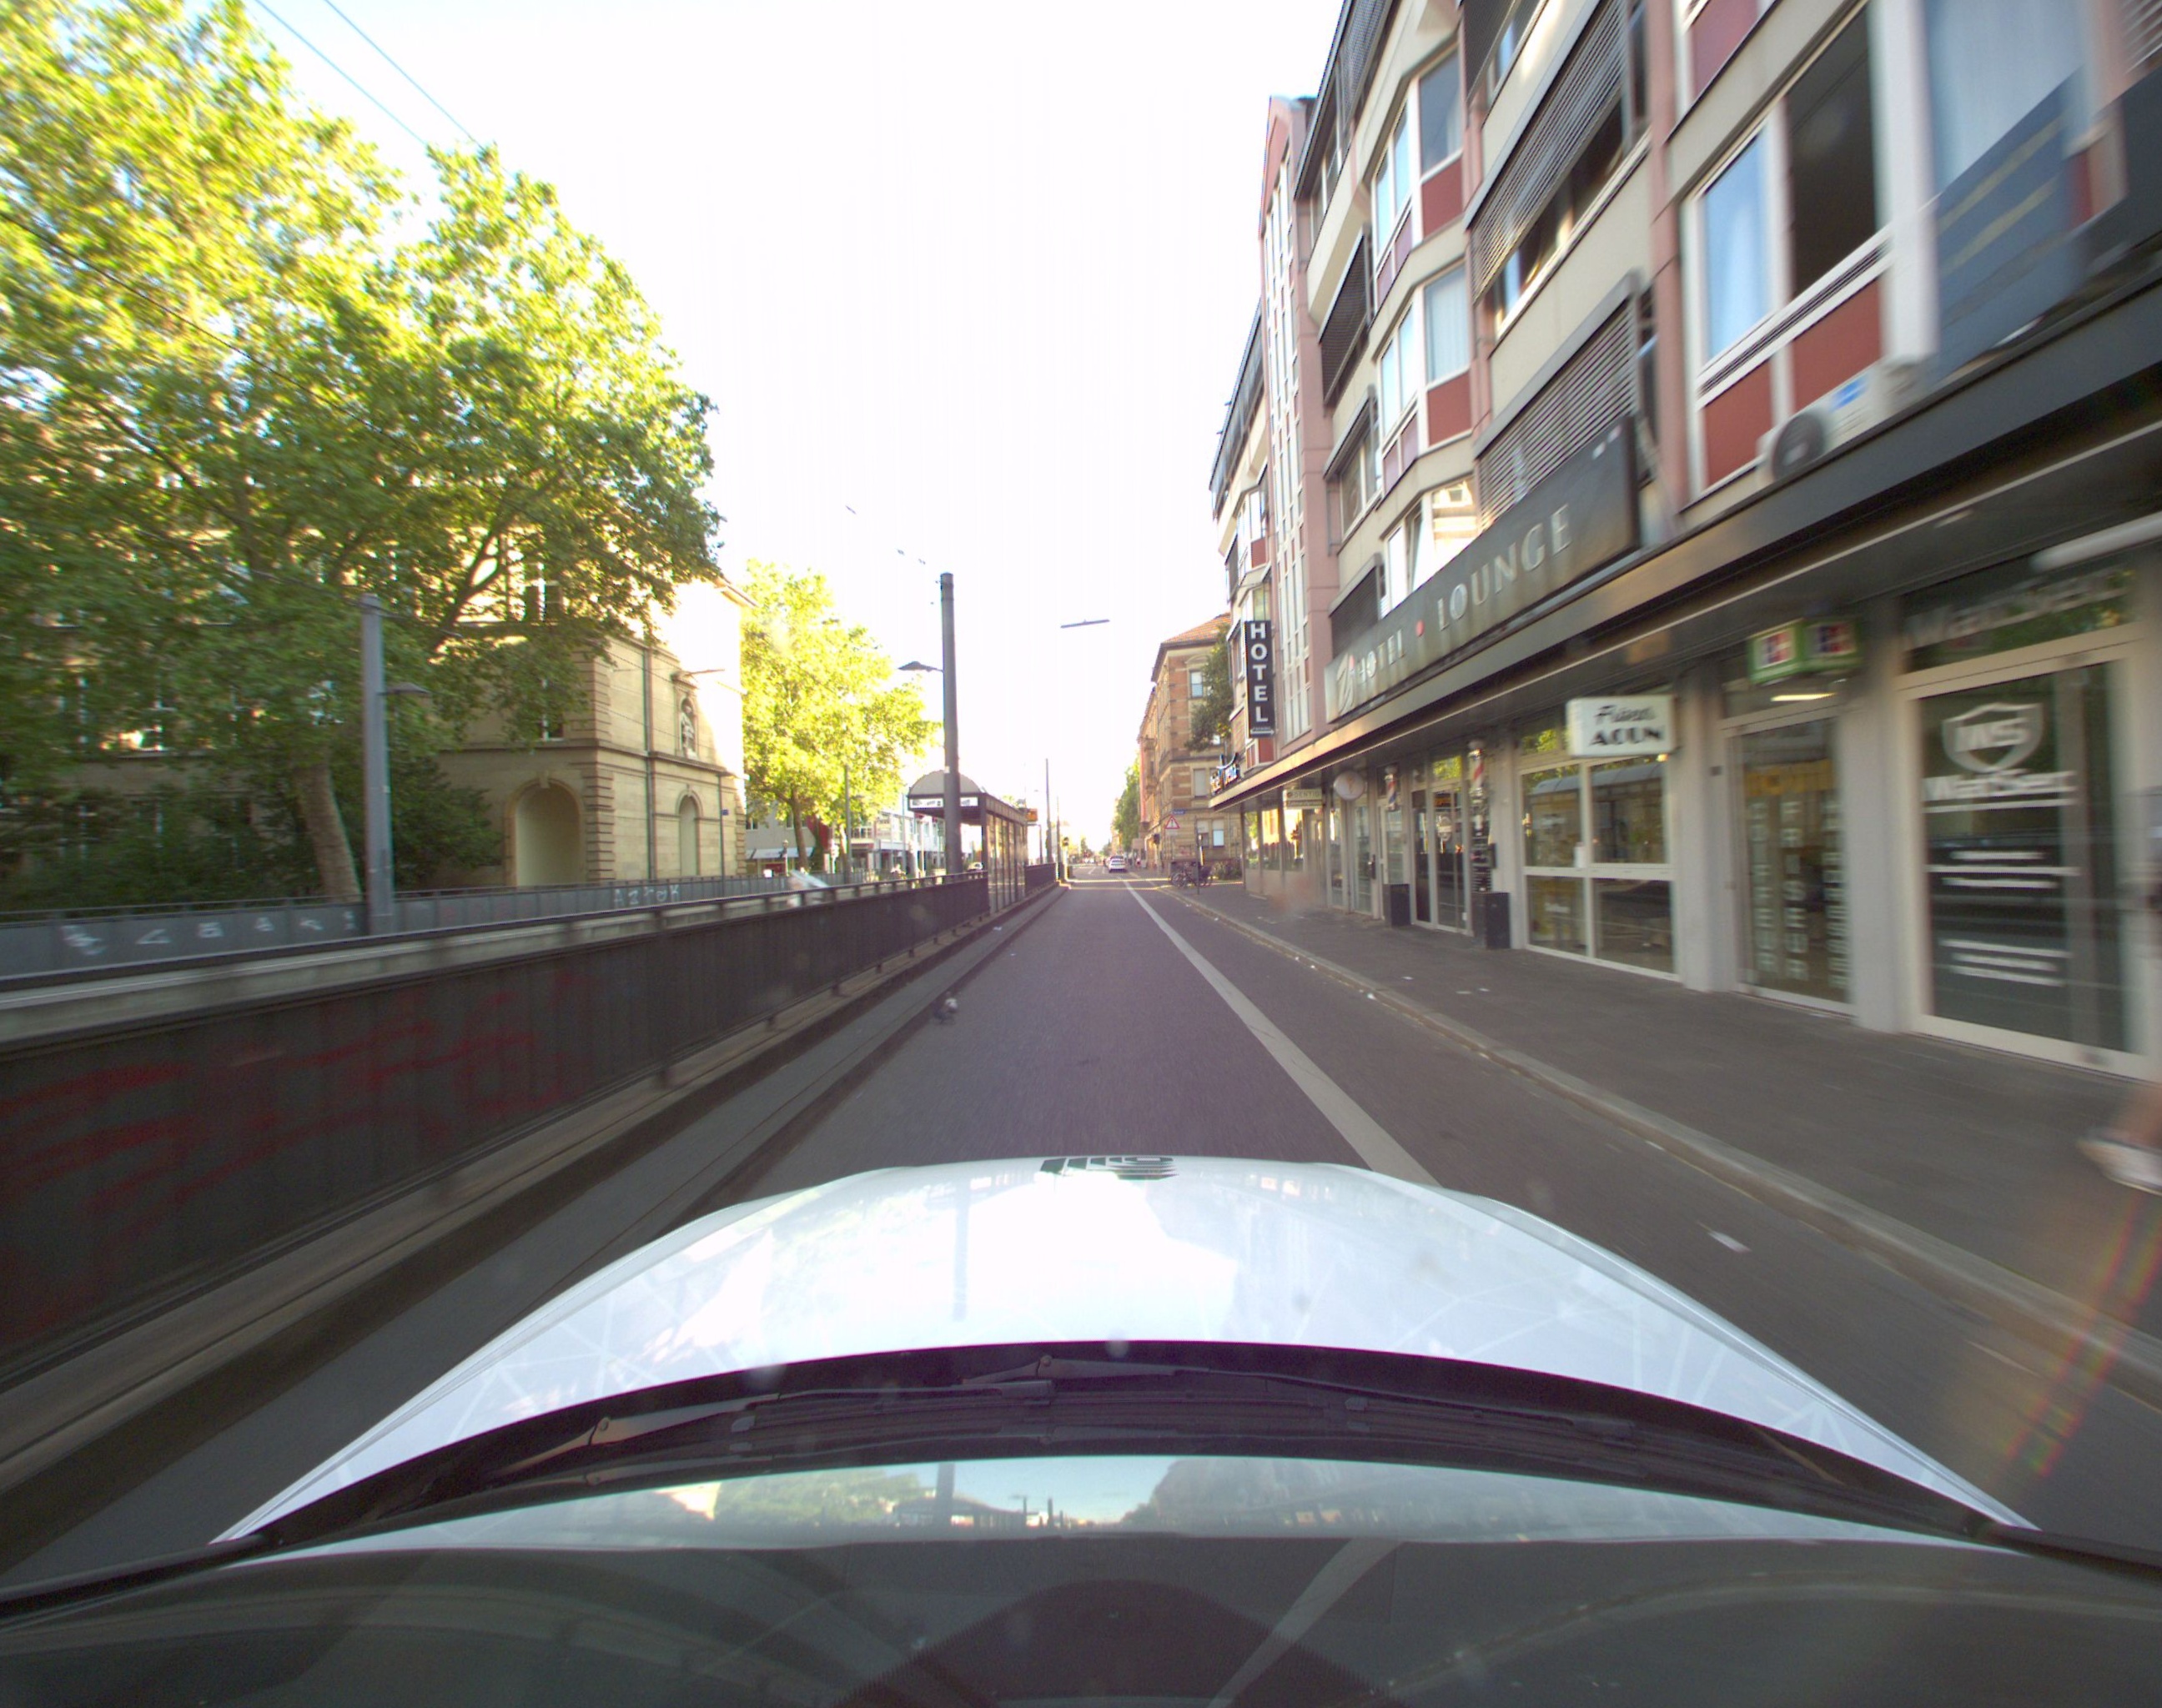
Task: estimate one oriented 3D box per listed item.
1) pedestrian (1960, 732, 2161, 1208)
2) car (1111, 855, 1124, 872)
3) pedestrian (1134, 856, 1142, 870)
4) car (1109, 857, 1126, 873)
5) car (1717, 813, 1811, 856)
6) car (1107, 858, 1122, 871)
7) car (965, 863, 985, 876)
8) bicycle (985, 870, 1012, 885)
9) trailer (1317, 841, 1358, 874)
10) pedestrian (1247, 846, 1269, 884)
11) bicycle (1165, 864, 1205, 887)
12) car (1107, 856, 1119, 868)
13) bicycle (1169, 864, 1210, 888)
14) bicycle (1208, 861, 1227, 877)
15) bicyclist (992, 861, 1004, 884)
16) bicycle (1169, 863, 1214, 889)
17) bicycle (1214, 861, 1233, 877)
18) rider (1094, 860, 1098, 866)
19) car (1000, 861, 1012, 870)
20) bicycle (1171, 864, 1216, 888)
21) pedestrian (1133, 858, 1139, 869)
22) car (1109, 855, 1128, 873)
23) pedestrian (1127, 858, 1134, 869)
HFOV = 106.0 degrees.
[{"bbox_3d":[4.270,0.399,2.983,0.795,1.722,1.062,-5,-1,2],"label":"pedestrian"},{"bbox_3d":[4.955,1.309,109.884,1.697,2.120,3.710,-1,-1,4],"label":"car"},{"bbox_3d":[6.519,0.990,93.577,0.772,1.567,0.915,-5,-1,4],"label":"pedestrian"},{"bbox_3d":[4.428,1.297,99.162,1.947,1.869,4.992,0,-1,3],"label":"car"},{"bbox_3d":[33.671,-0.877,40.297,1.951,1.940,4.663,-1,-1,18],"label":"car"},{"bbox_3d":[4.768,1.547,115.267,1.943,1.788,5.181,0,-1,0],"label":"car"},{"bbox_3d":[-14.413,2.181,111.125,2.084,1.713,4.818,0,-2,0],"label":"car"},{"bbox_3d":[-6.159,1.748,60.824,1.888,1.078,0.584,1,-1,-1],"label":"bicycle"},{"bbox_3d":[14.604,0.217,46.517,1.952,1.732,3.948,-3,-2,15],"label":"trailer"},{"bbox_3d":[8.201,0.503,37.774,0.780,1.665,1.034,-2,1,2],"label":"pedestrian"},{"bbox_3d":[5.080,1.040,39.711,1.829,1.054,0.710,-2,-1,-2],"label":"bicycle"},{"bbox_3d":[5.687,1.370,144.921,1.963,2.014,4.560,-3,-1,2],"label":"car"},{"bbox_3d":[5.058,1.022,38.037,1.829,1.054,0.717,-2,-1,-2],"label":"bicycle"},{"bbox_3d":[9.209,1.001,54.954,0.452,1.025,1.896,-1,-1,-17],"label":"bicycle"},{"bbox_3d":[-6.189,1.386,60.819,0.741,1.712,0.533,-2,-1,-1],"label":"bicyclist"},{"bbox_3d":[5.048,0.994,37.307,1.965,1.105,0.614,-2,-1,-2],"label":"bicycle"},{"bbox_3d":[9.618,1.006,54.947,0.418,1.025,1.896,-1,-1,-17],"label":"bicycle"},{"bbox_3d":[3.489,2.096,186.031,0.880,1.481,0.713,0,-1,2],"label":"rider"},{"bbox_3d":[-13.324,2.074,145.228,1.864,1.600,4.251,-1,-1,-1],"label":"car"},{"bbox_3d":[5.050,0.984,36.650,1.908,1.047,0.680,-2,-1,-2],"label":"bicycle"},{"bbox_3d":[7.855,1.380,116.494,0.773,1.567,0.914,-5,-1,2],"label":"pedestrian"},{"bbox_3d":[3.986,1.064,87.117,1.959,1.772,4.878,-1,-1,2],"label":"car"},{"bbox_3d":[7.057,1.372,116.500,0.773,1.567,0.914,-5,-1,2],"label":"pedestrian"}]
